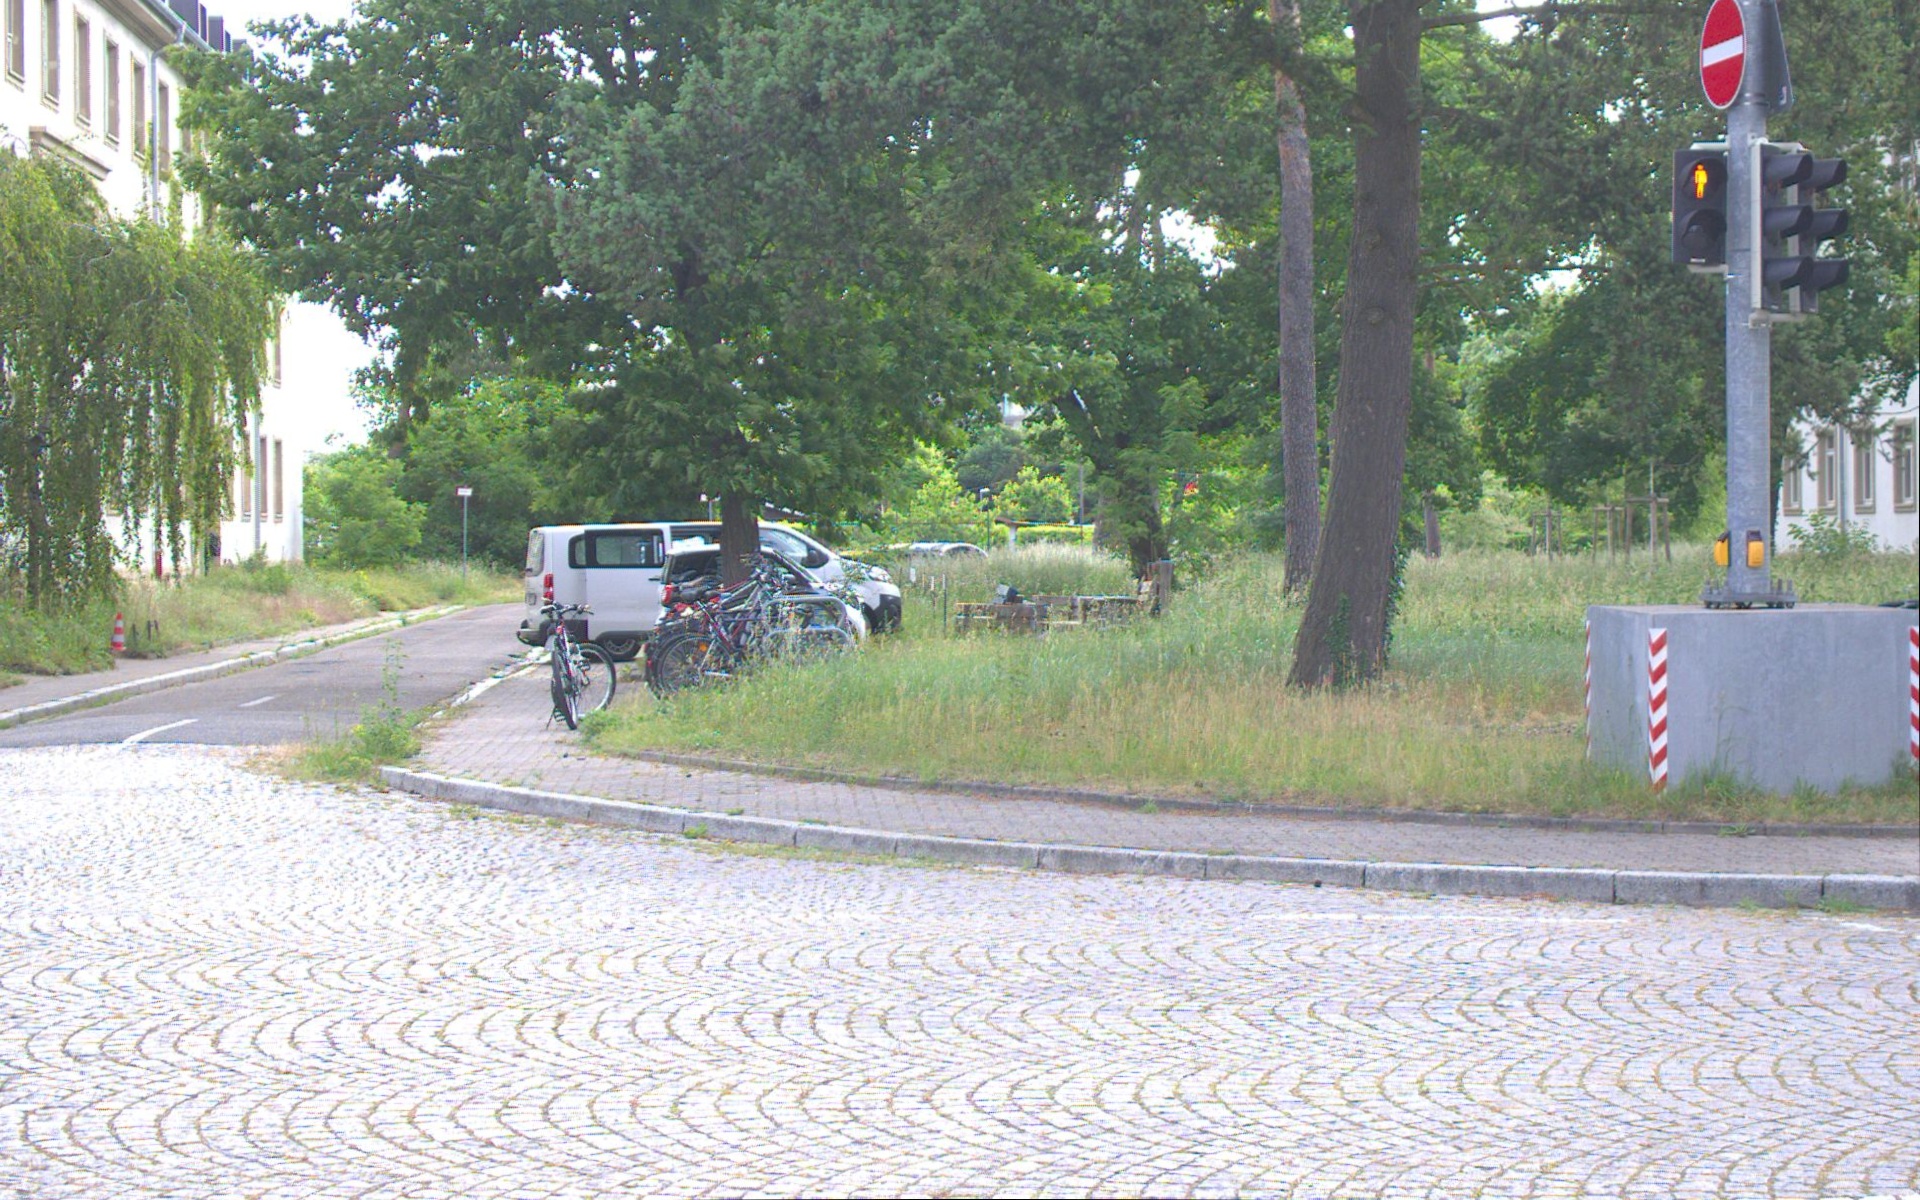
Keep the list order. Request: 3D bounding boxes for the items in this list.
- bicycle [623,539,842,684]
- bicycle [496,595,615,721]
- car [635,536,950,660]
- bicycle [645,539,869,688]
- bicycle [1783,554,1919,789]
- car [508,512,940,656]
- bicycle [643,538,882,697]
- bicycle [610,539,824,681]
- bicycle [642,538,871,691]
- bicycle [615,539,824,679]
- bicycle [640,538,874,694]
[{"bbox_3d":[-2.179,0.104,33.073,2.069,1.373,0.620,0,1,-3],"label":"bicycle"},{"bbox_3d":[-3.312,0.461,28.325,0.618,0.960,2.076,0,1,3],"label":"bicycle"},{"bbox_3d":[-2.212,-0.049,44.717,3.931,1.539,2.001,0,1,-8],"label":"car"},{"bbox_3d":[-1.902,0.120,32.287,2.069,1.373,0.620,0,1,-3],"label":"bicycle"},{"bbox_3d":[5.114,0.348,18.265,0.908,1.173,1.875,0,1,-4],"label":"bicycle"},{"bbox_3d":[-3.317,-0.251,48.033,5.690,1.904,2.231,-1,1,-15],"label":"car"},{"bbox_3d":[-1.732,0.146,30.201,2.069,1.373,0.620,0,1,-3],"label":"bicycle"},{"bbox_3d":[-2.376,0.093,33.802,2.069,1.373,0.620,0,1,-3],"label":"bicycle"},{"bbox_3d":[-1.860,0.129,31.492,2.069,1.373,0.620,0,1,-3],"label":"bicycle"},{"bbox_3d":[-2.409,0.085,34.548,2.069,1.373,0.620,0,1,-3],"label":"bicycle"},{"bbox_3d":[-1.818,0.136,30.868,2.069,1.373,0.620,0,1,-3],"label":"bicycle"}]
